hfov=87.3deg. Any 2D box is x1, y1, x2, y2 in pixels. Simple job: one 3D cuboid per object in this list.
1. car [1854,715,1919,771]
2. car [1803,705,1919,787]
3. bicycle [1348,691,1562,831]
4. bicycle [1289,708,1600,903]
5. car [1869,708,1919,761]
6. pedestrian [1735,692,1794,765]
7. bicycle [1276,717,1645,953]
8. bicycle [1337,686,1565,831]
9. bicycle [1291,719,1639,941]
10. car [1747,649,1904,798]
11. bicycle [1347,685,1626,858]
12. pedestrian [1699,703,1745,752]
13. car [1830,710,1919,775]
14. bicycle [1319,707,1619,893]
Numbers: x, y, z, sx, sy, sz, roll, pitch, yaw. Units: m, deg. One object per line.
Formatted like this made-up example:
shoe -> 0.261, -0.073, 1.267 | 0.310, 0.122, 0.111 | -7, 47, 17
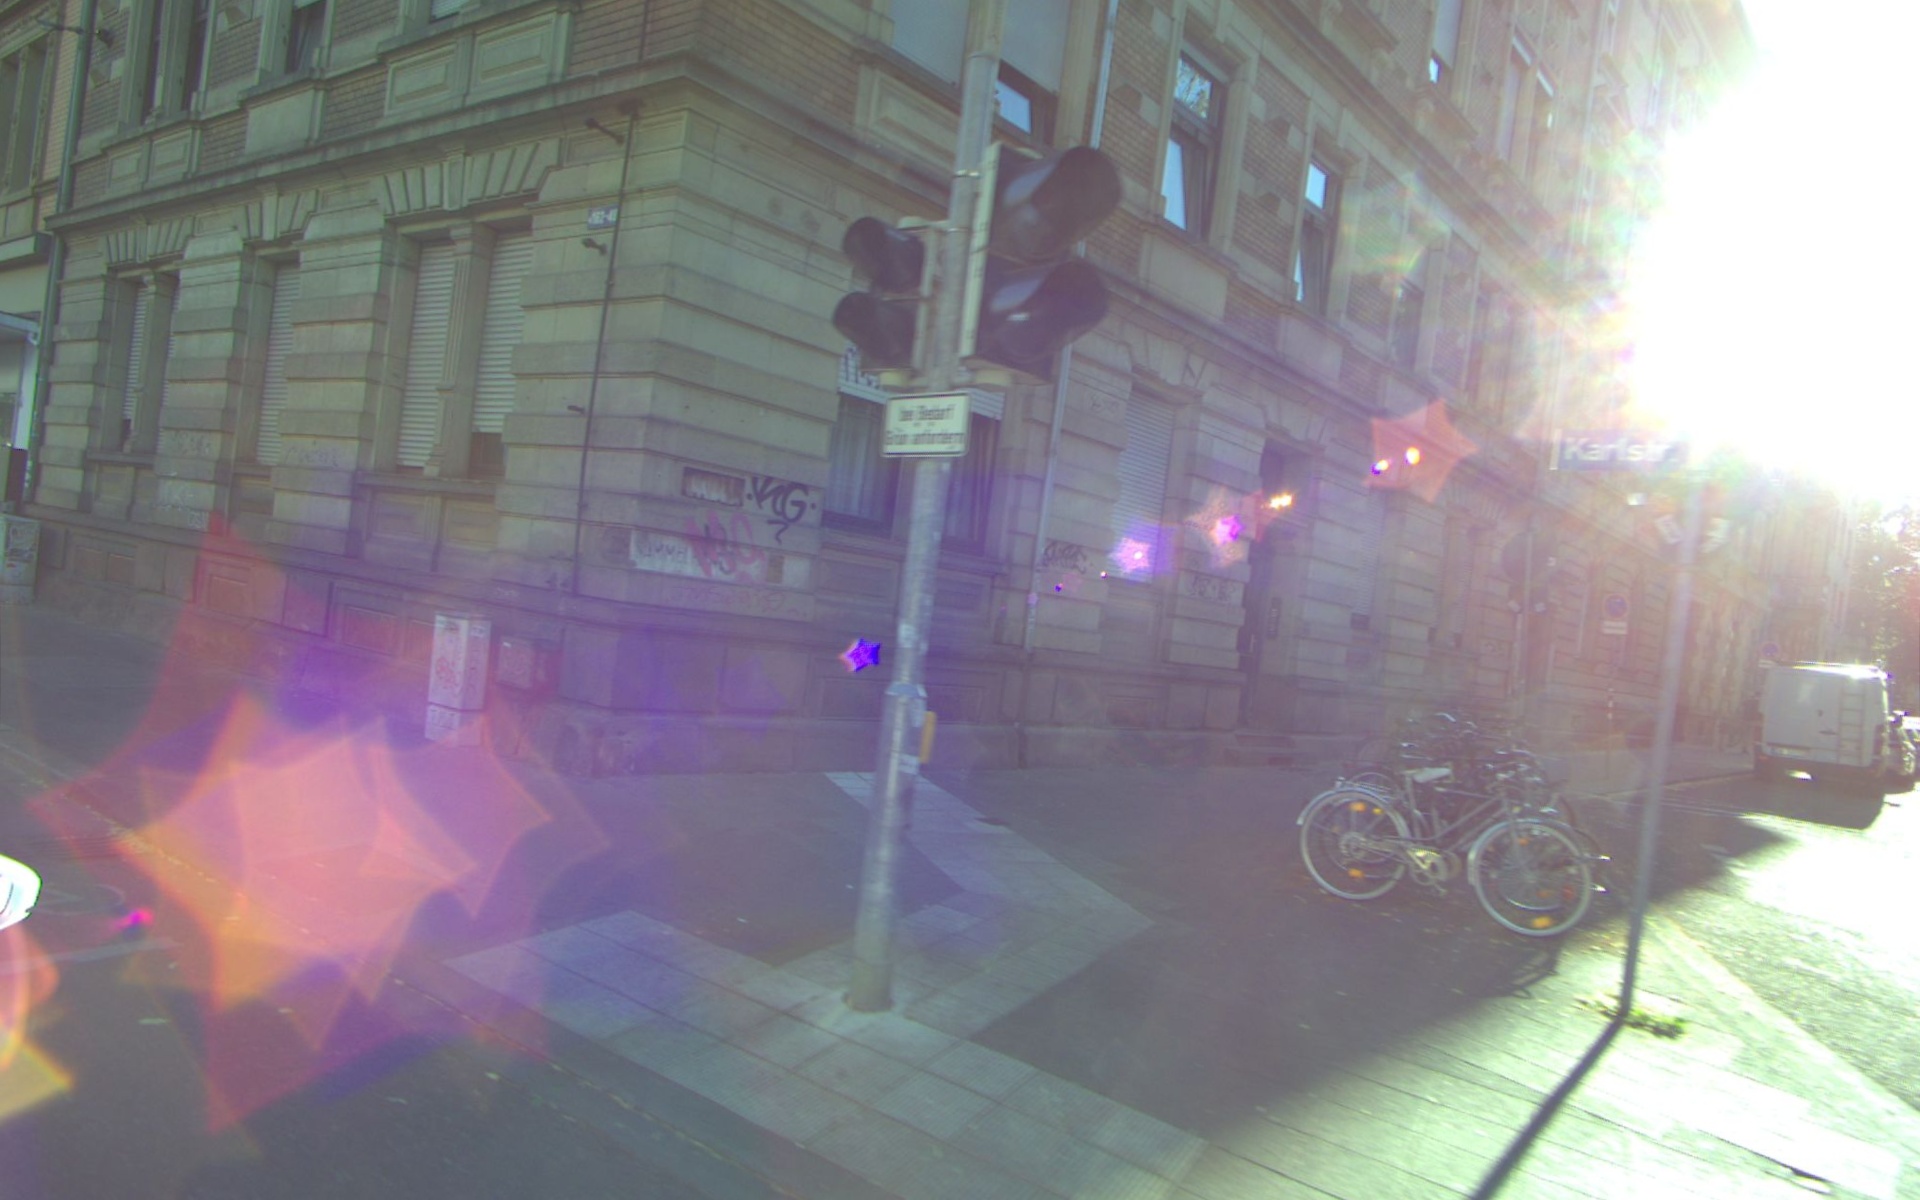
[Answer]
car -> 30.106, 4.658, 32.193 | 4.193, 1.443, 1.803 | 10, -3, -43
car -> 22.215, 3.612, 24.673 | 4.193, 1.592, 1.803 | 10, -3, -43
bicycle -> 5.182, 1.673, 10.614 | 1.871, 1.137, 0.405 | 8, 0, 11
bicycle -> 3.447, 1.451, 7.248 | 1.872, 1.052, 0.463 | 8, 0, 4
car -> 36.469, 5.240, 38.678 | 4.193, 1.685, 1.803 | 10, -3, -43
pedestrian -> 22.083, 3.535, 27.614 | 1.058, 1.809, 0.996 | 9, -2, -45
bicycle -> 3.003, 1.397, 6.198 | 1.871, 1.037, 0.453 | 8, 0, 13
bicycle -> 4.945, 1.582, 10.214 | 1.920, 1.137, 0.447 | 8, 0, 8
bicycle -> 3.215, 1.451, 6.547 | 1.871, 1.037, 0.418 | 8, 0, 13
car -> 18.058, 2.620, 20.899 | 1.948, 2.547, 4.851 | 6, -3, 45
bicycle -> 4.769, 1.541, 9.220 | 2.067, 1.197, 0.616 | 8, 0, 6
pedestrian -> 21.416, 3.586, 28.275 | 0.925, 1.194, 0.817 | 9, -2, -45
car -> 26.411, 4.124, 28.777 | 4.193, 1.443, 1.803 | 10, -3, -43
bicycle -> 3.823, 1.491, 7.682 | 1.871, 1.037, 0.497 | 8, 0, 11
